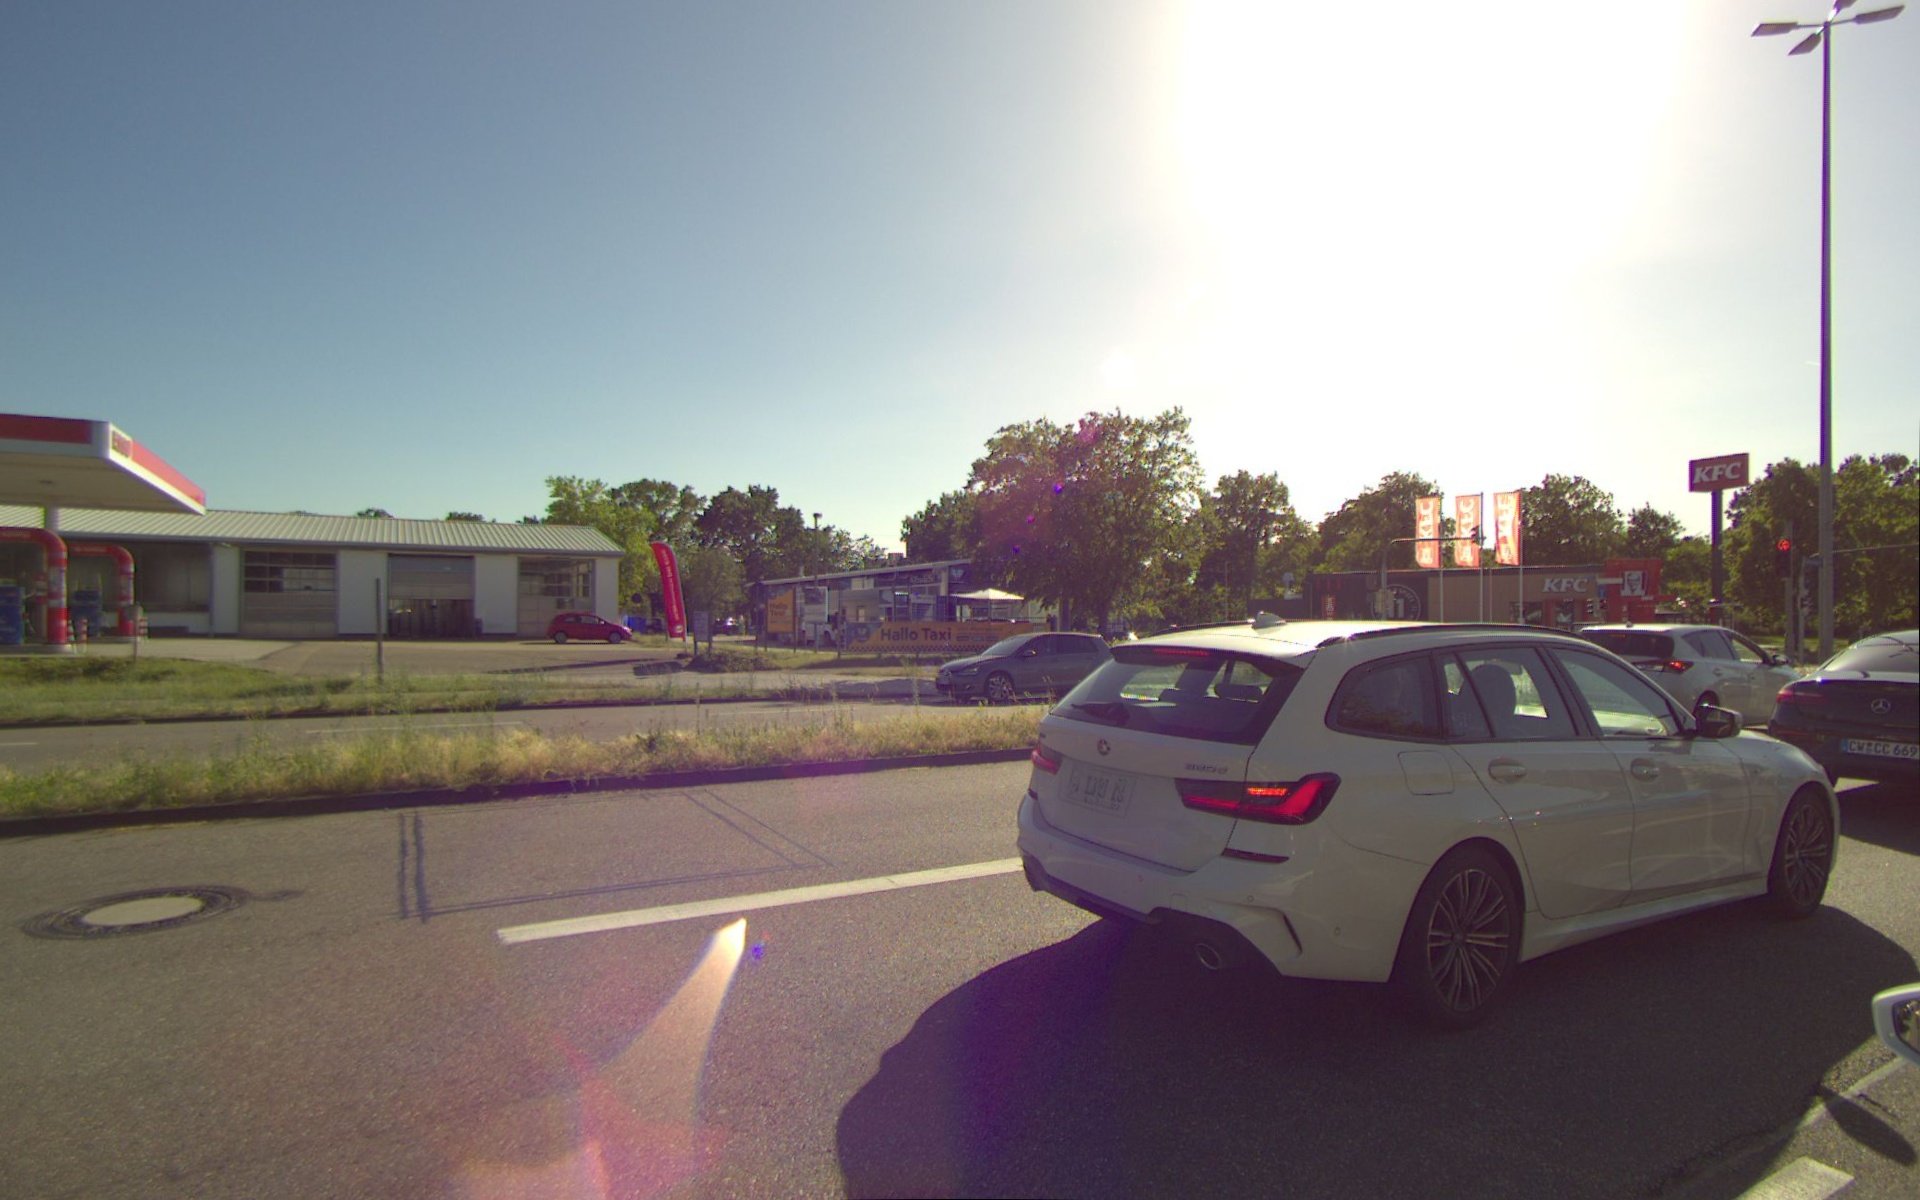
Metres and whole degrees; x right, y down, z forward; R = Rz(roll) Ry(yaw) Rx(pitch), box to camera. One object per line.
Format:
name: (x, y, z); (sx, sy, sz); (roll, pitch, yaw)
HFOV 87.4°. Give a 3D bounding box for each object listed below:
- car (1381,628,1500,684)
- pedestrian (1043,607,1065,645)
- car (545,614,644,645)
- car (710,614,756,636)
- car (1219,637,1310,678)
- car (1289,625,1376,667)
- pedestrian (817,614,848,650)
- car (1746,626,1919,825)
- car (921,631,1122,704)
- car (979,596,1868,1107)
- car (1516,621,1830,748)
car: (14.105, 1.578, 29.342); (1.837, 1.448, 4.709); (0, -1, 43)
pedestrian: (4.574, 1.262, 48.731); (0.804, 1.828, 0.951); (1, 0, -13)
car: (-18.020, 1.434, 49.548); (4.486, 1.458, 1.741); (1, -1, -26)
car: (-19.930, 2.158, 88.254); (2.085, 1.840, 4.000); (0, -1, 20)
car: (15.269, 2.843, 50.551); (1.975, 1.869, 4.258); (1, -1, -28)
car: (19.301, 2.351, 52.154); (1.975, 2.040, 3.972); (1, -1, -27)
pedestrian: (-6.368, 1.576, 50.070); (1.137, 1.787, 1.099); (0, -1, 22)
car: (8.802, 0.964, 8.622); (4.409, 1.433, 1.760); (1, -1, -30)
car: (1.337, 1.405, 21.646); (4.000, 1.448, 1.812); (1, -3, -28)
car: (2.423, 0.797, 4.901); (4.409, 1.529, 1.760); (1, -1, -30)
car: (9.634, 1.033, 13.502); (4.352, 1.448, 1.848); (1, -1, -30)
